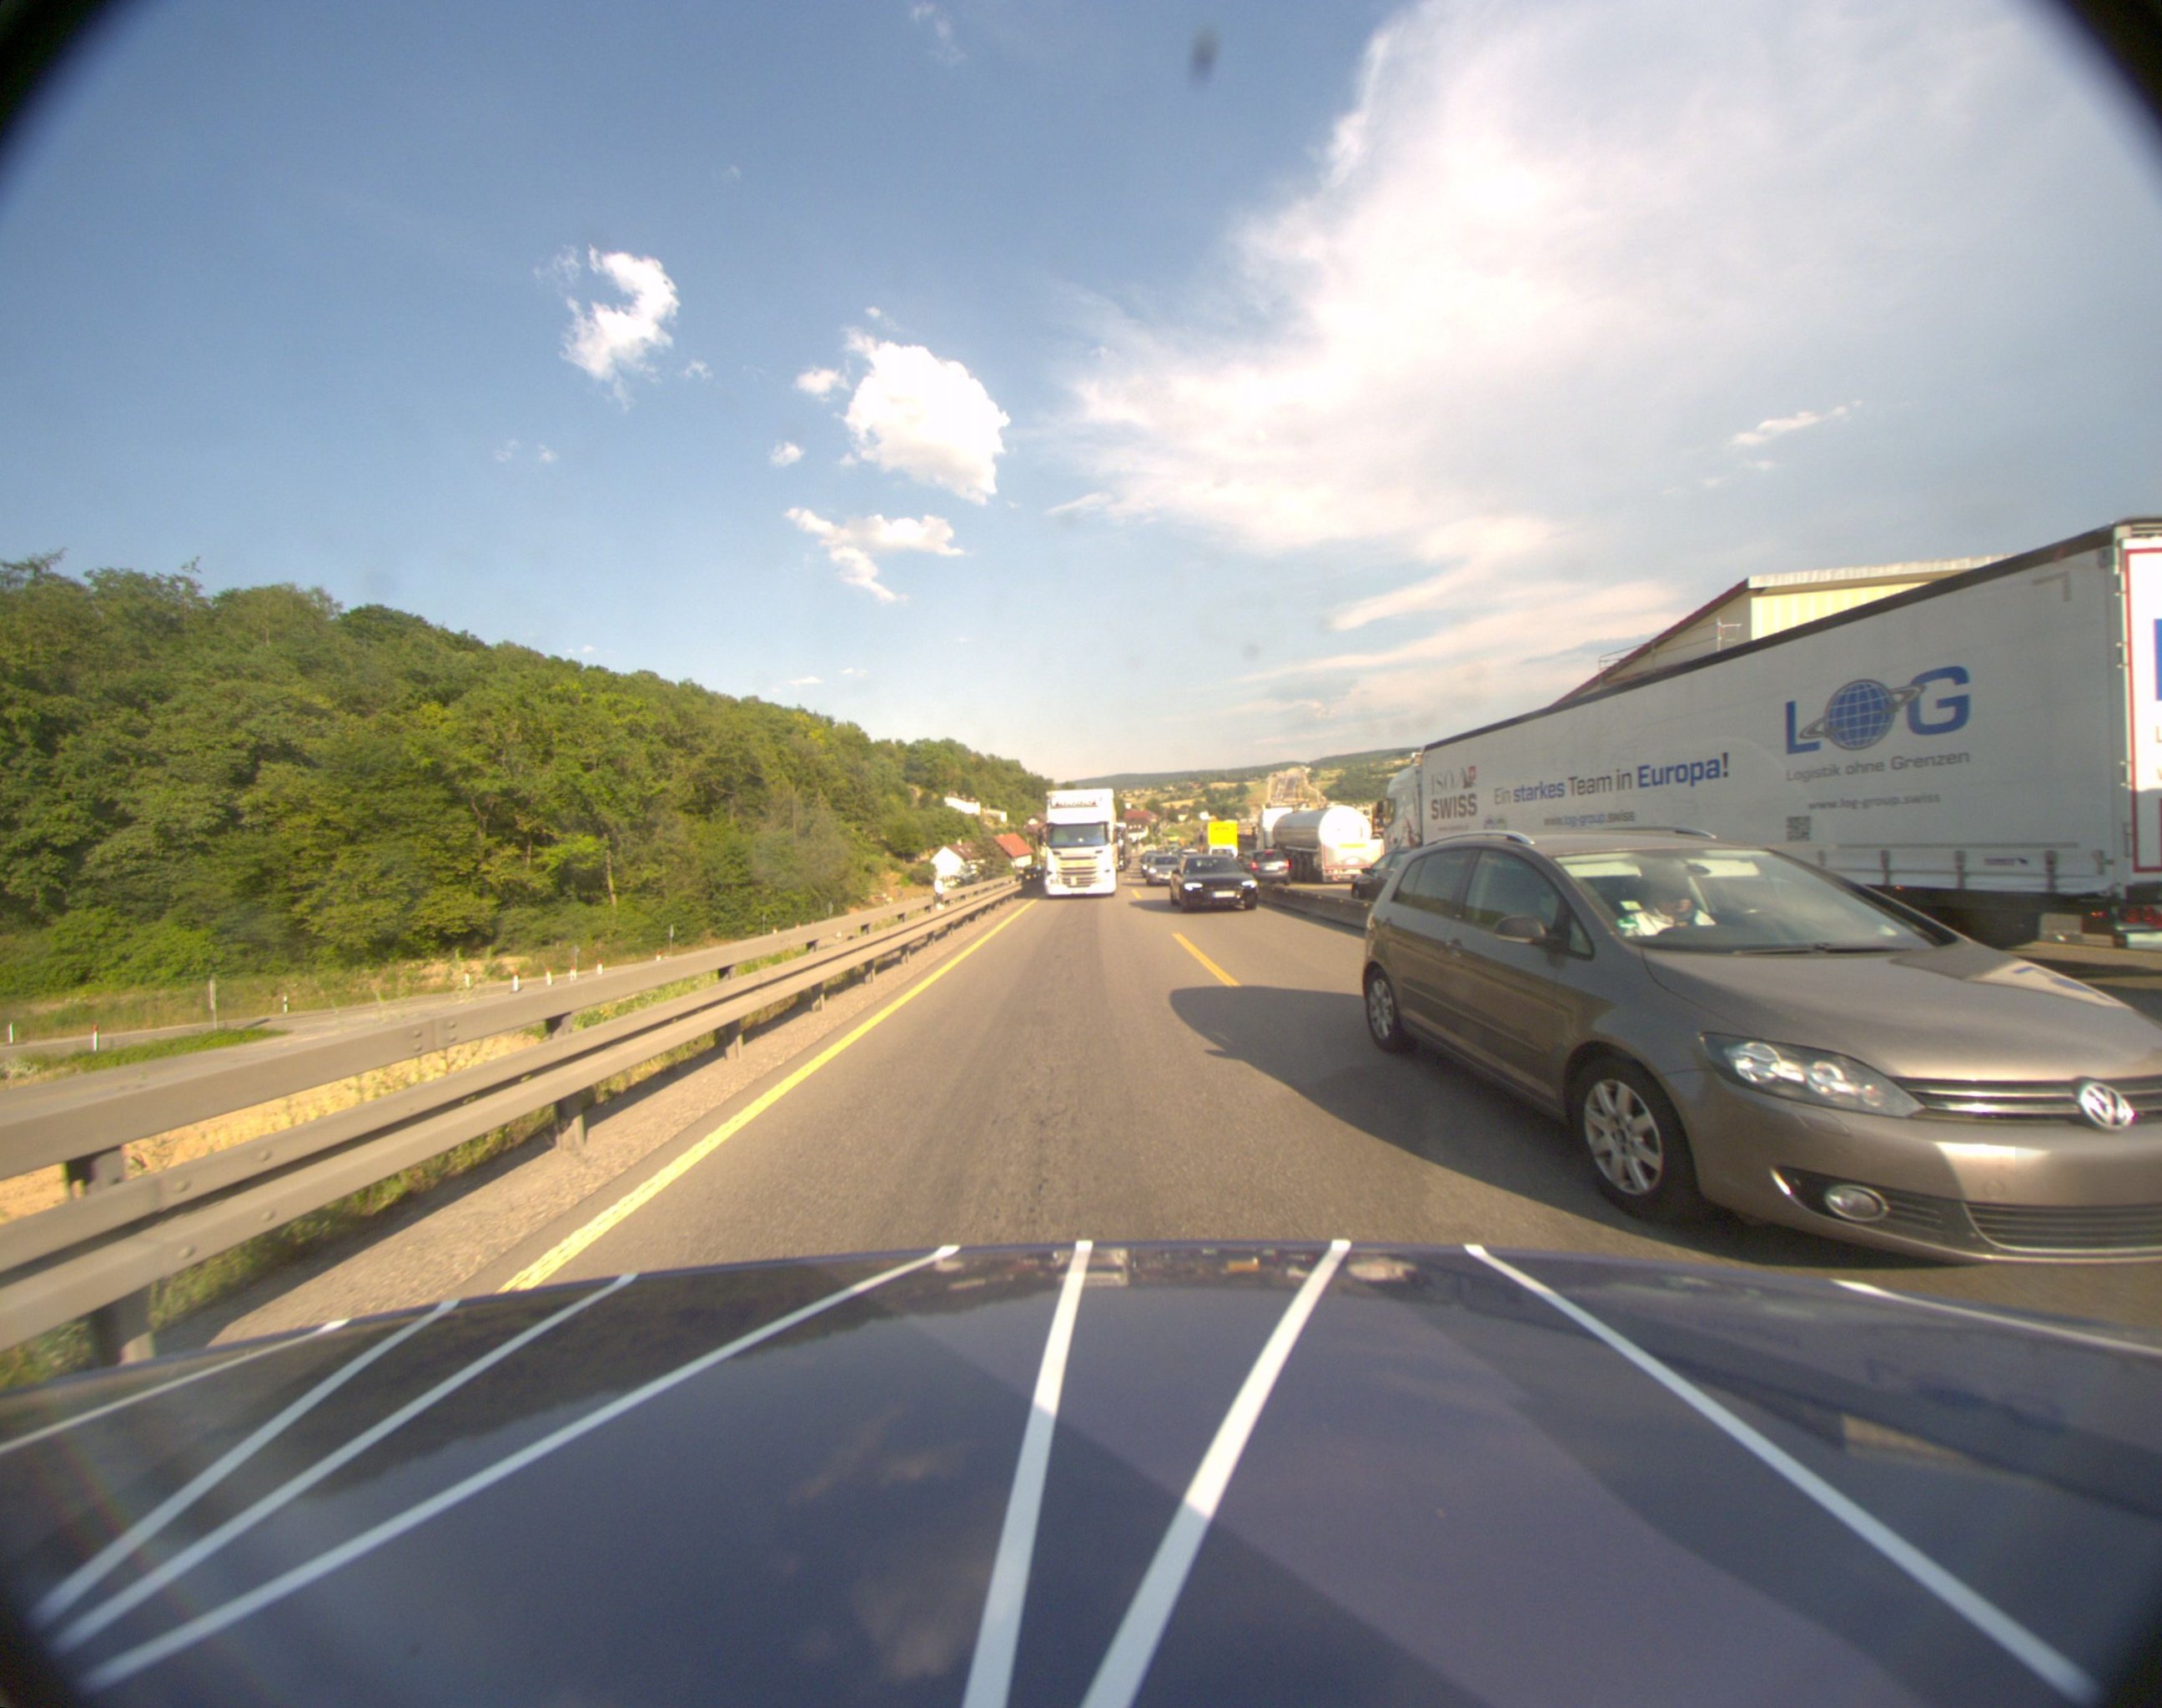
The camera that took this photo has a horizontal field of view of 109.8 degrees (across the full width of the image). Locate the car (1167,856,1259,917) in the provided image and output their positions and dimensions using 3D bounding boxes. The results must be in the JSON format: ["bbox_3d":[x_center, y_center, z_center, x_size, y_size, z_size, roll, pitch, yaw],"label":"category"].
[{"bbox_3d":[3.407,0.790,20.302,1.867,1.390,4.000,-1,1,2],"label":"car"}]

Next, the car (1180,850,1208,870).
[{"bbox_3d":[8.550,0.398,57.610,1.798,1.405,4.000,1,1,4],"label":"car"}]

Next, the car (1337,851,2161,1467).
[{"bbox_3d":[2.908,0.813,4.067,1.688,1.564,4.099,-3,0,1],"label":"car"}]

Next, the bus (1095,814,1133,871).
[{"bbox_3d":[2.989,-0.936,67.806,2.984,4.553,10.905,-2,0,3],"label":"bus"}]

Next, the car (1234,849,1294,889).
[{"bbox_3d":[7.557,0.576,31.656,1.661,1.501,3.690,-2,0,2],"label":"car"}]

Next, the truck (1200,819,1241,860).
[{"bbox_3d":[13.539,-1.389,74.499,2.899,3.689,9.490,-2,1,5],"label":"truck"}]

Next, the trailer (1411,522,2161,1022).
[{"bbox_3d":[10.017,-0.747,13.074,2.864,4.012,13.970,-2,0,2],"label":"trailer"}]

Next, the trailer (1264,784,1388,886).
[{"bbox_3d":[10.790,-0.790,34.774,2.603,3.858,10.578,-2,0,3],"label":"trailer"}]

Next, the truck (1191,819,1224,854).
[{"bbox_3d":[15.062,-2.111,91.047,2.899,3.861,9.490,-2,1,5],"label":"truck"}]

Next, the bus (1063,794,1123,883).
[{"bbox_3d":[0.870,-0.792,44.537,2.984,4.553,9.969,-2,0,3],"label":"bus"}]

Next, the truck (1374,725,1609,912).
[{"bbox_3d":[10.198,-0.795,19.728,2.851,4.012,6.101,-2,1,2],"label":"truck"}]

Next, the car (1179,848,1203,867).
[{"bbox_3d":[9.535,0.310,66.074,1.728,1.521,4.001,-2,1,5],"label":"car"}]

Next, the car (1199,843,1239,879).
[{"bbox_3d":[7.661,0.336,42.591,1.866,1.899,4.001,-1,1,6],"label":"car"}]

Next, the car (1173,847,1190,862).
[{"bbox_3d":[11.278,0.069,85.670,1.758,1.521,4.001,-2,1,5],"label":"car"}]

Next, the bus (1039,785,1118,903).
[{"bbox_3d":[0.173,-0.407,32.285,2.635,4.077,11.315,-1,1,3],"label":"bus"}]

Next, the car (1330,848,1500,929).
[{"bbox_3d":[6.924,0.616,16.325,1.660,1.421,4.564,-3,0,1],"label":"car"}]

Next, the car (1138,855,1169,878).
[{"bbox_3d":[4.499,0.756,47.442,1.627,1.239,4.000,-2,1,2],"label":"car"}]

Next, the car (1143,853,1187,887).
[{"bbox_3d":[3.896,0.722,35.724,1.698,1.390,4.001,-4,0,3],"label":"car"}]

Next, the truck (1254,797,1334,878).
[{"bbox_3d":[11.010,-0.827,39.864,2.605,3.865,6.203,-2,1,3],"label":"truck"}]
